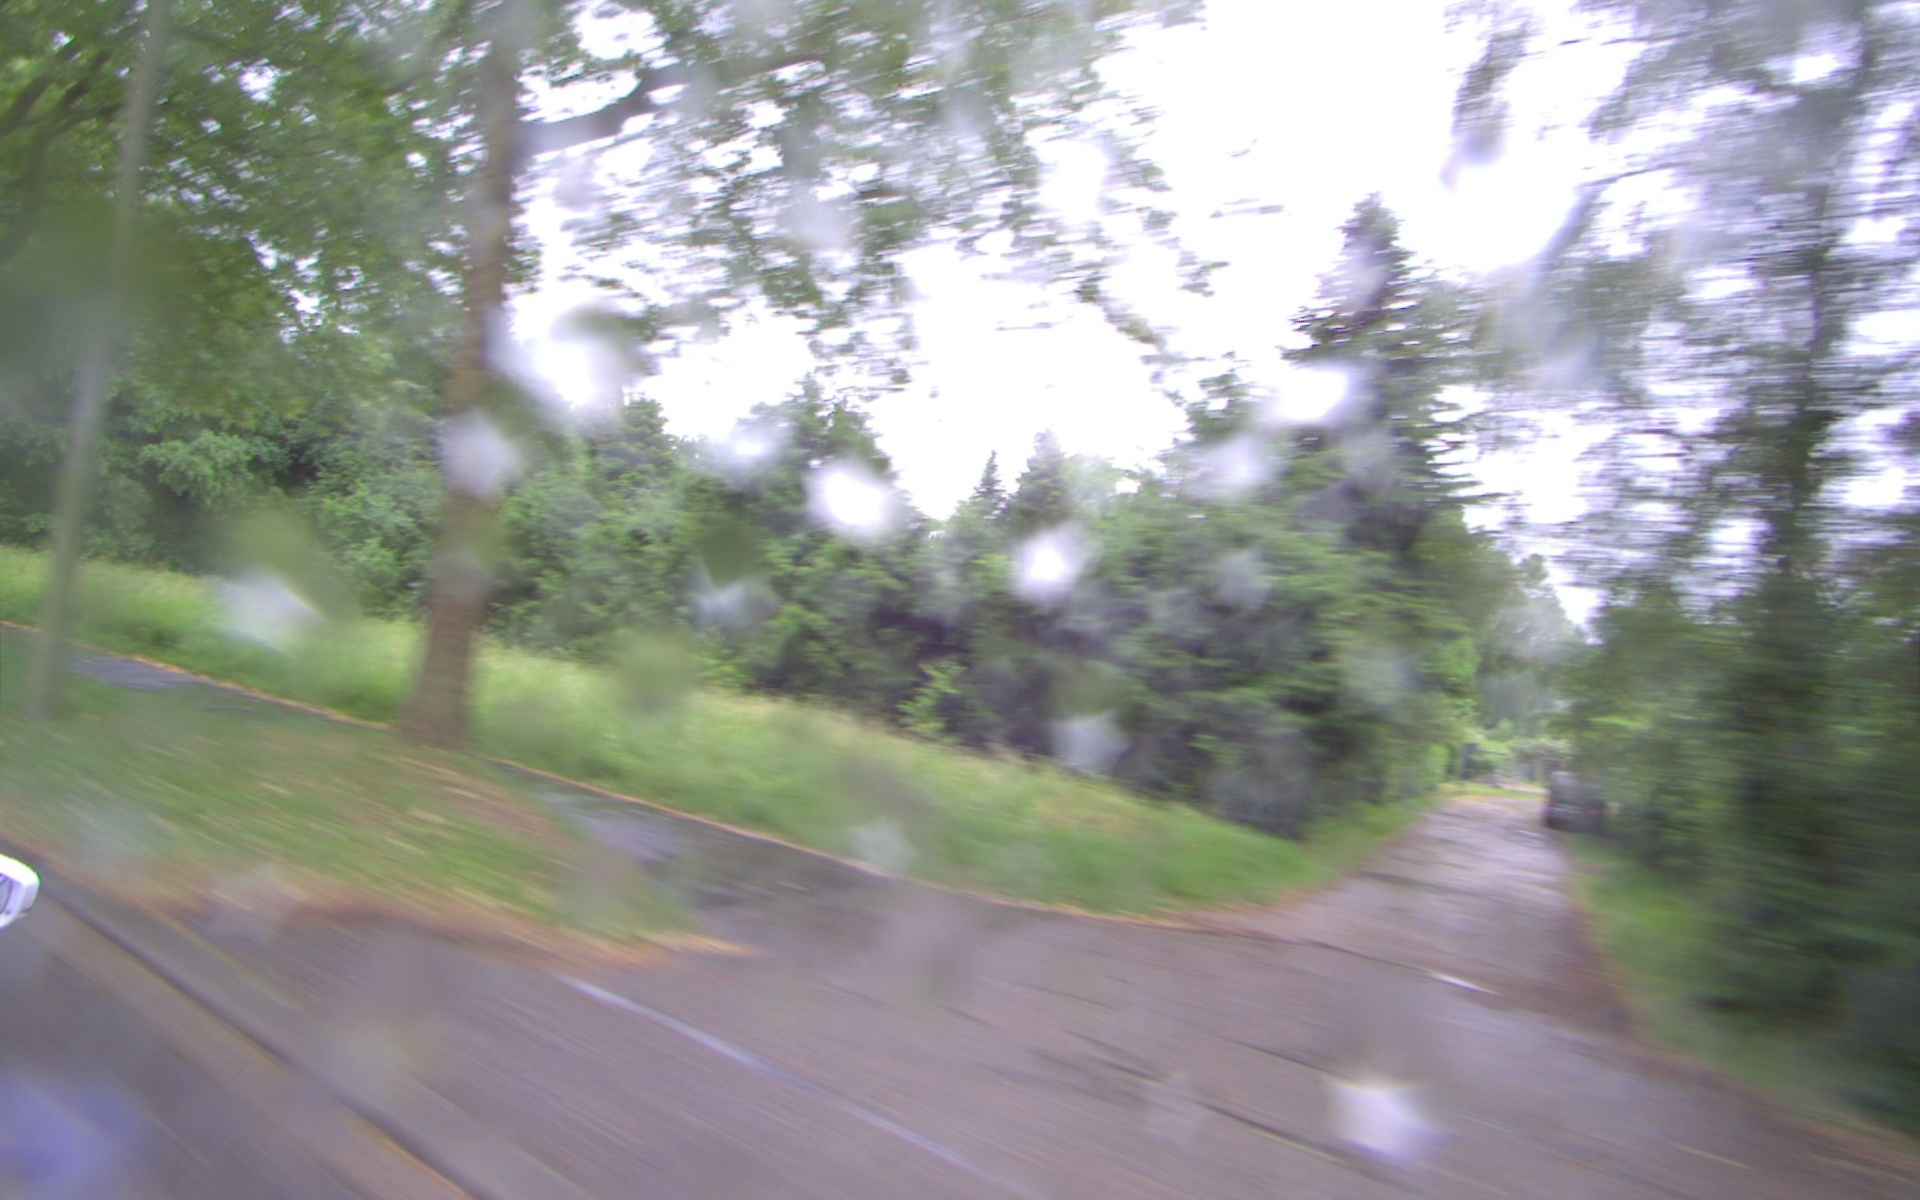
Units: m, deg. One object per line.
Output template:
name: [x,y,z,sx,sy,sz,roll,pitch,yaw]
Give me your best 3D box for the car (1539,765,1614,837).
car: [19.836,6.415,32.490,1.770,1.705,3.997,6,-3,30]
